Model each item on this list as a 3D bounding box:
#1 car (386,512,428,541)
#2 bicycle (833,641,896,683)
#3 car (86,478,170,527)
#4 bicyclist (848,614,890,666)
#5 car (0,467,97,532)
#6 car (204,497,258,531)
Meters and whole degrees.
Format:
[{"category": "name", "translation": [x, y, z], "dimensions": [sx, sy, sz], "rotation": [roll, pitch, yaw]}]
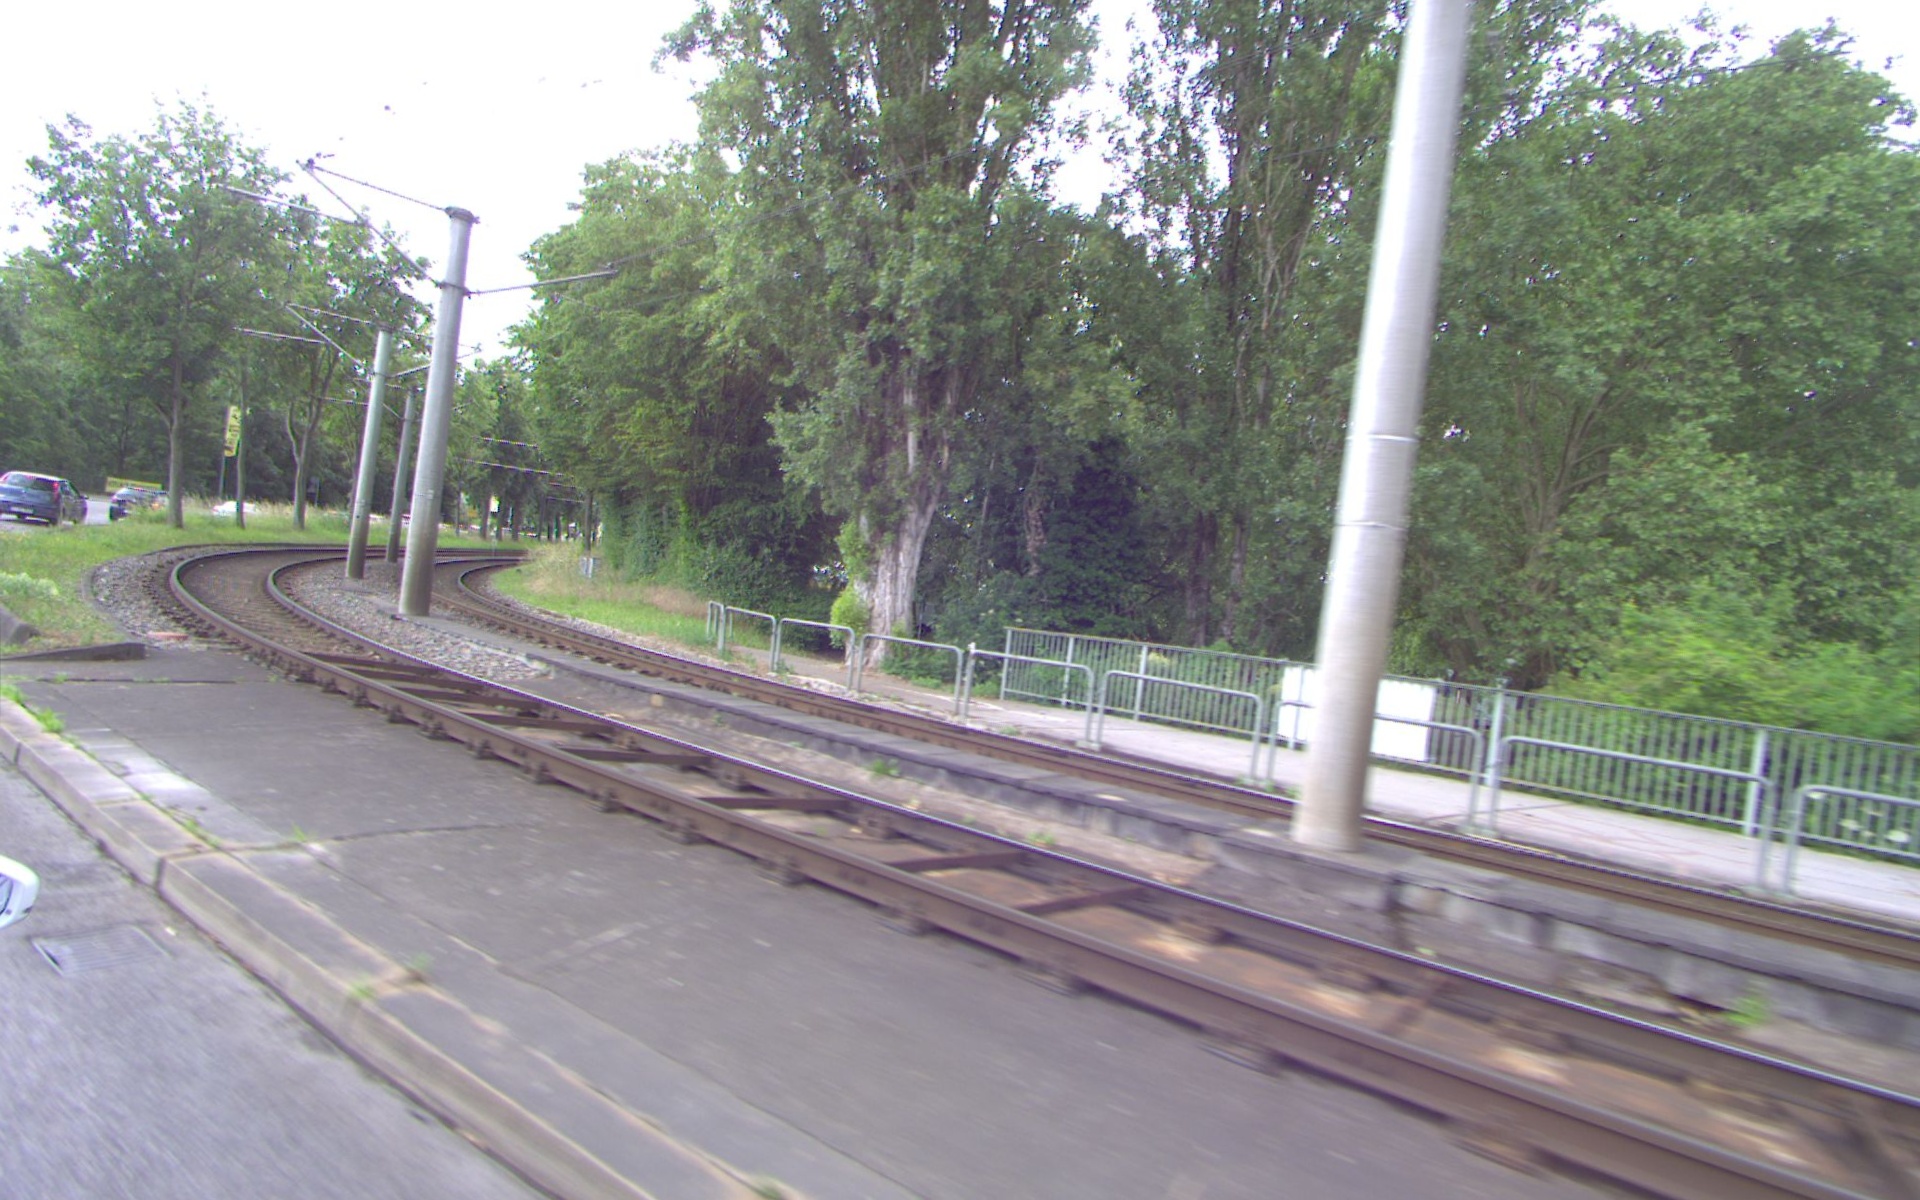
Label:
[{"category": "car", "translation": [-44.464, -5.879, 80.939], "dimensions": [1.905, 1.882, 3.987], "rotation": [7, 0, -15]}, {"category": "bicycle", "translation": [-2.757, 1.819, 29.302], "dimensions": [0.420, 1.062, 2.075], "rotation": [9, -1, 36]}, {"category": "car", "translation": [-32.315, -3.742, 39.180], "dimensions": [1.565, 1.557, 3.972], "rotation": [7, 0, -28]}, {"category": "bicyclist", "translation": [-2.656, 1.175, 29.321], "dimensions": [0.586, 1.376, 0.908], "rotation": [9, 0, 37]}, {"category": "car", "translation": [-28.110, -3.058, 30.793], "dimensions": [1.882, 1.592, 3.965], "rotation": [9, -1, -33]}, {"category": "car", "translation": [-36.535, -4.299, 50.490], "dimensions": [1.487, 1.381, 3.564], "rotation": [7, 0, -26]}]
